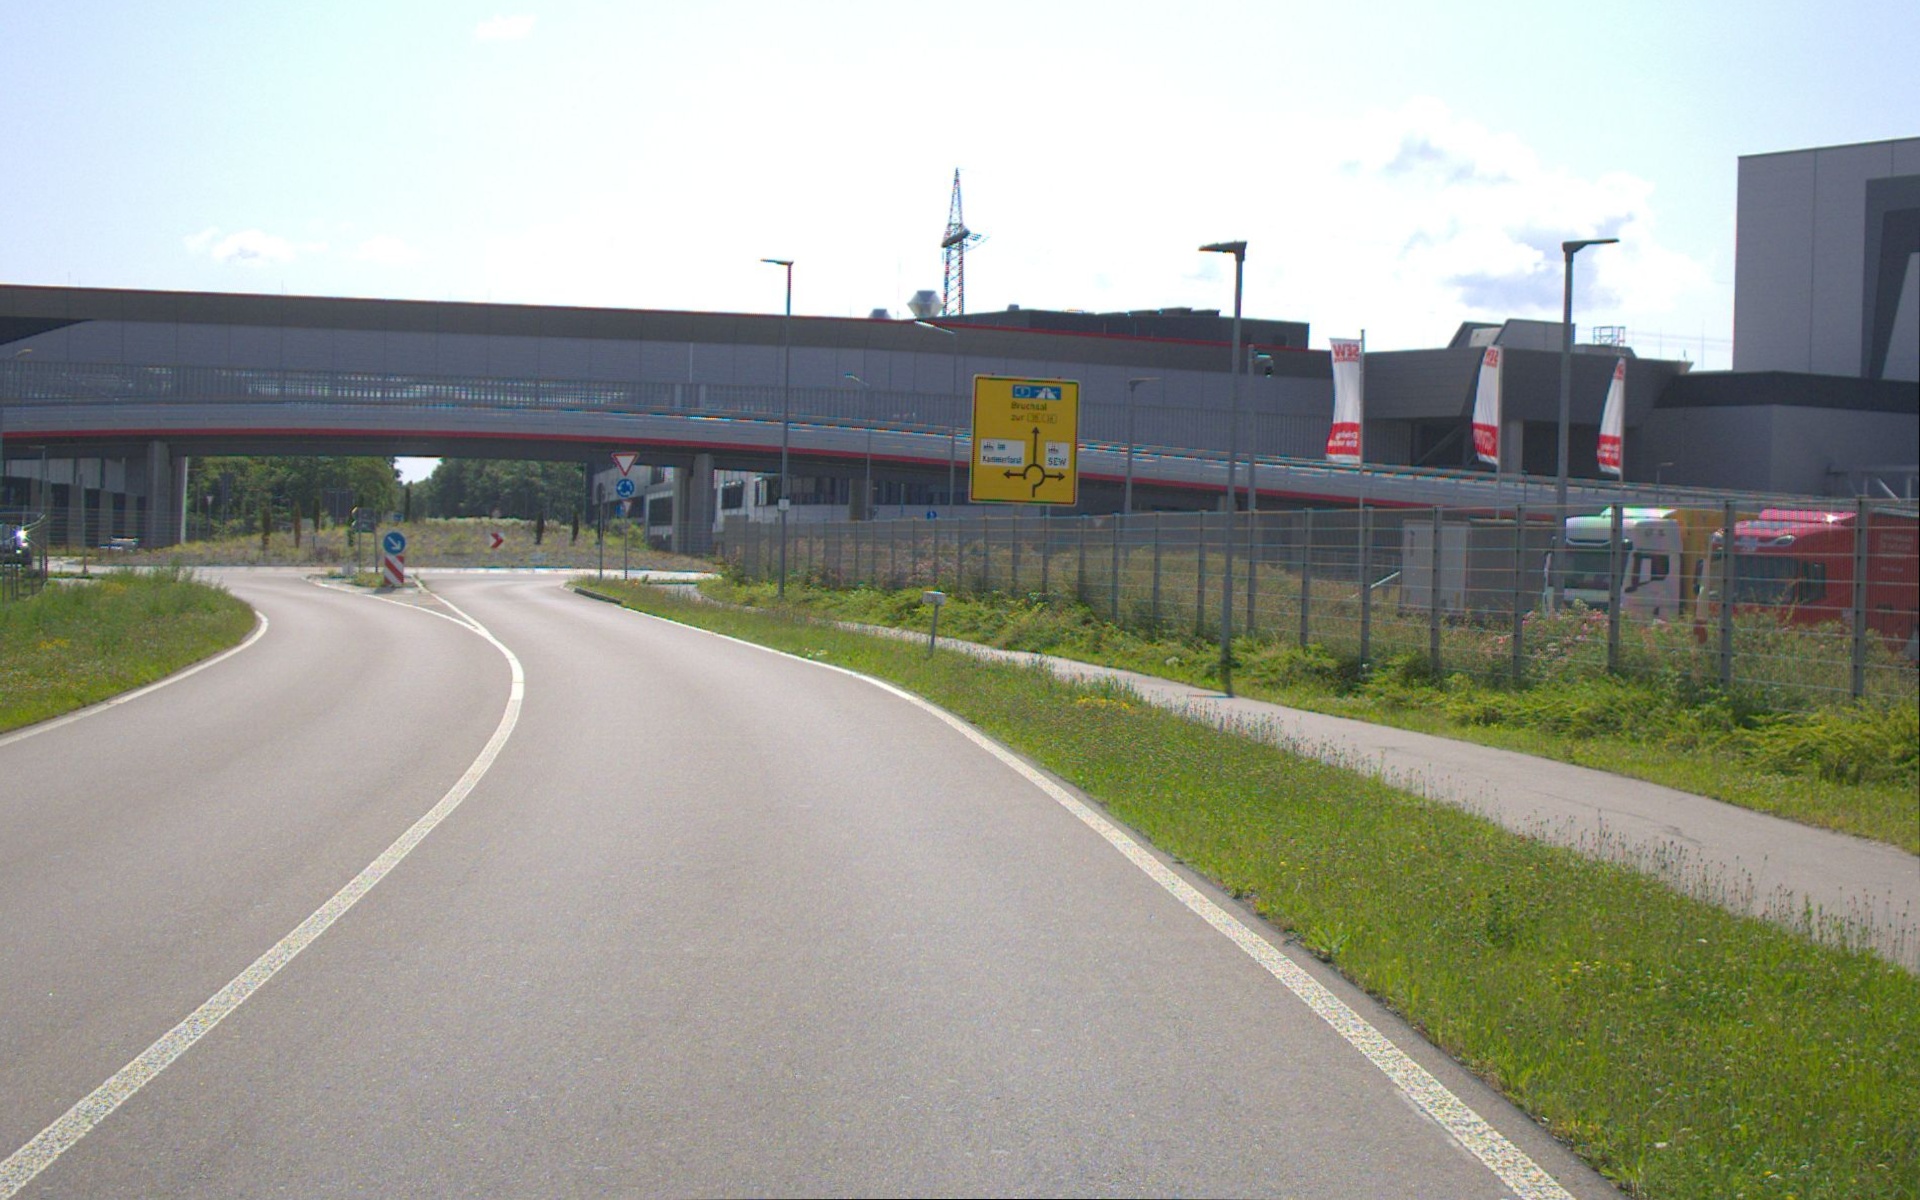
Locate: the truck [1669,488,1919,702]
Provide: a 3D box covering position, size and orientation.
[{"bbox_3d":[19.624,-0.124,73.124,10.943,4.242,3.027,0,1,-42],"label":"truck"}]

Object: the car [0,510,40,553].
[{"bbox_3d":[-33.454,-2.404,120.581,1.702,1.477,4.001,0,1,-23],"label":"car"}]

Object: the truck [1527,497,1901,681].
[{"bbox_3d":[18.167,-0.272,82.169,10.943,4.158,2.821,0,1,-42],"label":"truck"}]

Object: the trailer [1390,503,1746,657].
[{"bbox_3d":[18.730,-0.603,104.815,14.024,4.423,2.765,0,1,-43],"label":"trailer"}]
